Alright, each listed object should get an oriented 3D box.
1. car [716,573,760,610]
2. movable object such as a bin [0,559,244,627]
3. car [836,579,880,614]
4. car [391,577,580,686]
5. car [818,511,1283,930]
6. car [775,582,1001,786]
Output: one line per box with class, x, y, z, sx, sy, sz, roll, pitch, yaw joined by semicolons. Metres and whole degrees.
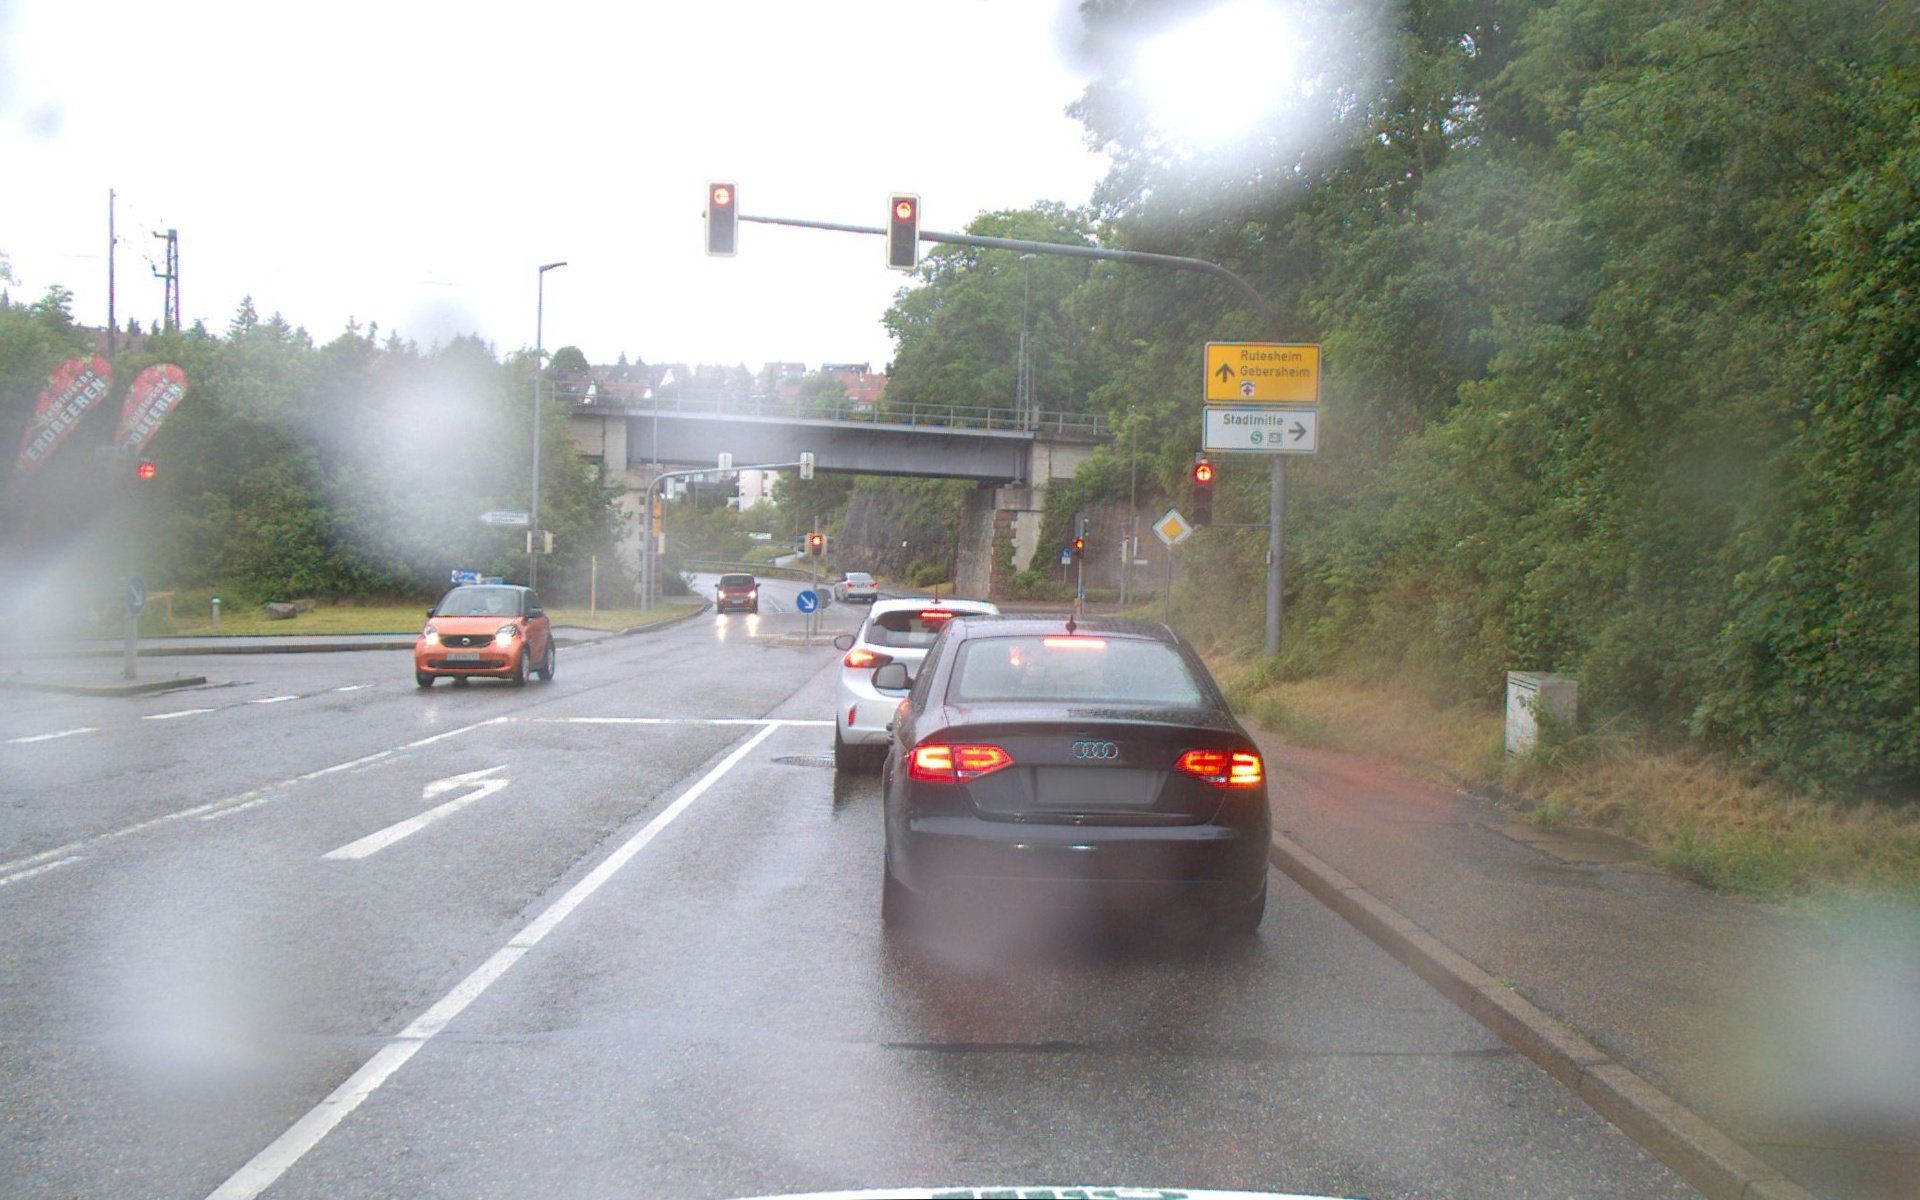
car;-10.172;-0.396;75.871;1.956;1.657;3.993;0;0;-8
movable object such as a bin;-22.362;-0.139;43.724;2.699;1.656;5.752;0;-1;39
car;-5.403;-0.165;87.057;1.772;1.773;4.468;1;-1;-11
car;-7.579;0.499;26.846;1.953;1.613;3.999;1;-1;-1
car;0.332;0.509;8.559;1.832;1.645;3.999;1;-1;-1
car;-0.607;0.700;15.216;1.786;1.613;3.999;1;-1;-1
